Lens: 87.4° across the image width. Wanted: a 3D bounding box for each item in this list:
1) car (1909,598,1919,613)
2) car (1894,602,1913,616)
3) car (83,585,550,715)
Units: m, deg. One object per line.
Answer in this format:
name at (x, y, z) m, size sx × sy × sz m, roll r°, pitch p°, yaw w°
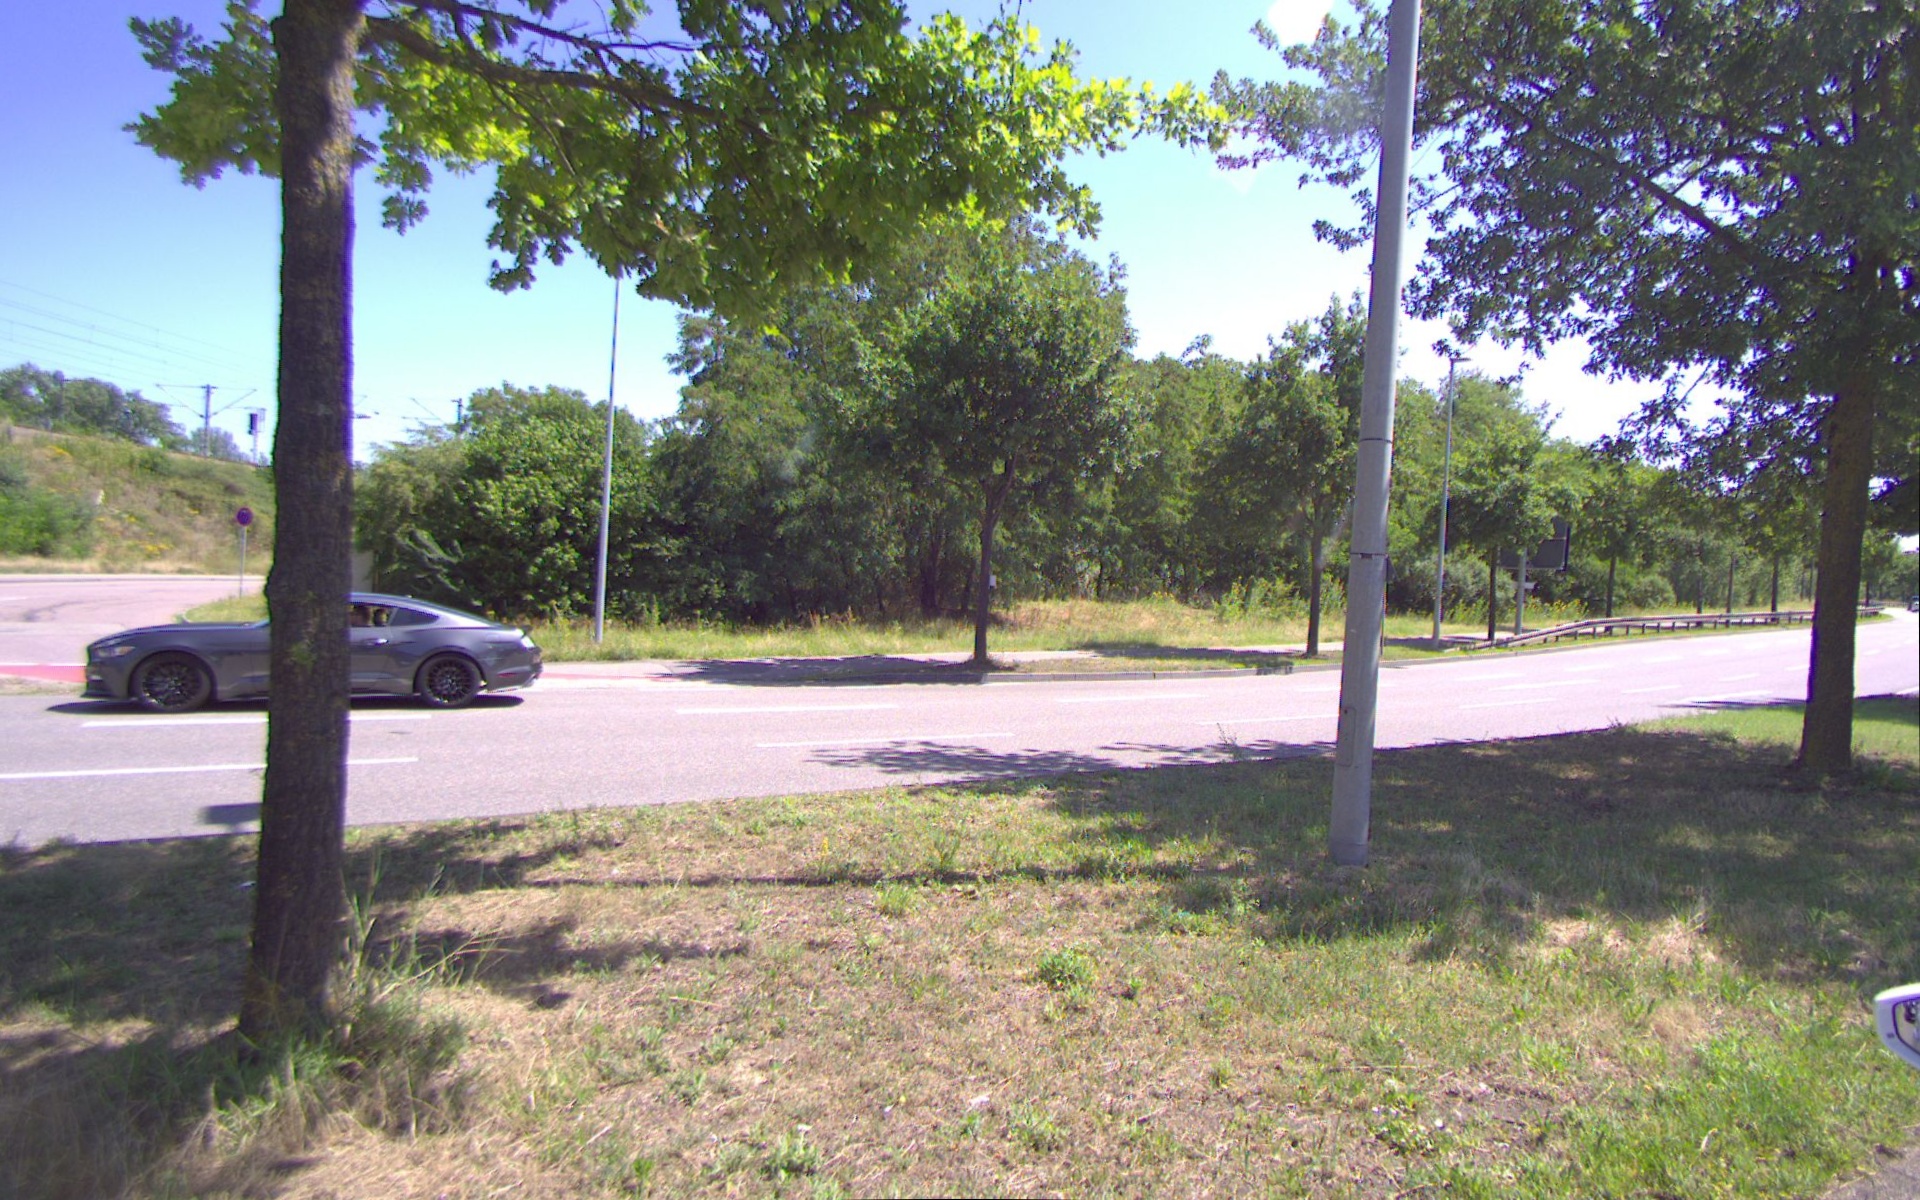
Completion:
car at (94.834, 0.540, 99.283) m, size 1.441 × 1.331 × 3.615 m, roll 3°, pitch 0°, yaw 45°
car at (104.751, 1.001, 111.533) m, size 1.403 × 1.331 × 3.316 m, roll 3°, pitch 0°, yaw 45°
car at (-7.560, 0.608, 12.369) m, size 4.510 × 1.351 × 1.803 m, roll 3°, pitch 0°, yaw -27°
